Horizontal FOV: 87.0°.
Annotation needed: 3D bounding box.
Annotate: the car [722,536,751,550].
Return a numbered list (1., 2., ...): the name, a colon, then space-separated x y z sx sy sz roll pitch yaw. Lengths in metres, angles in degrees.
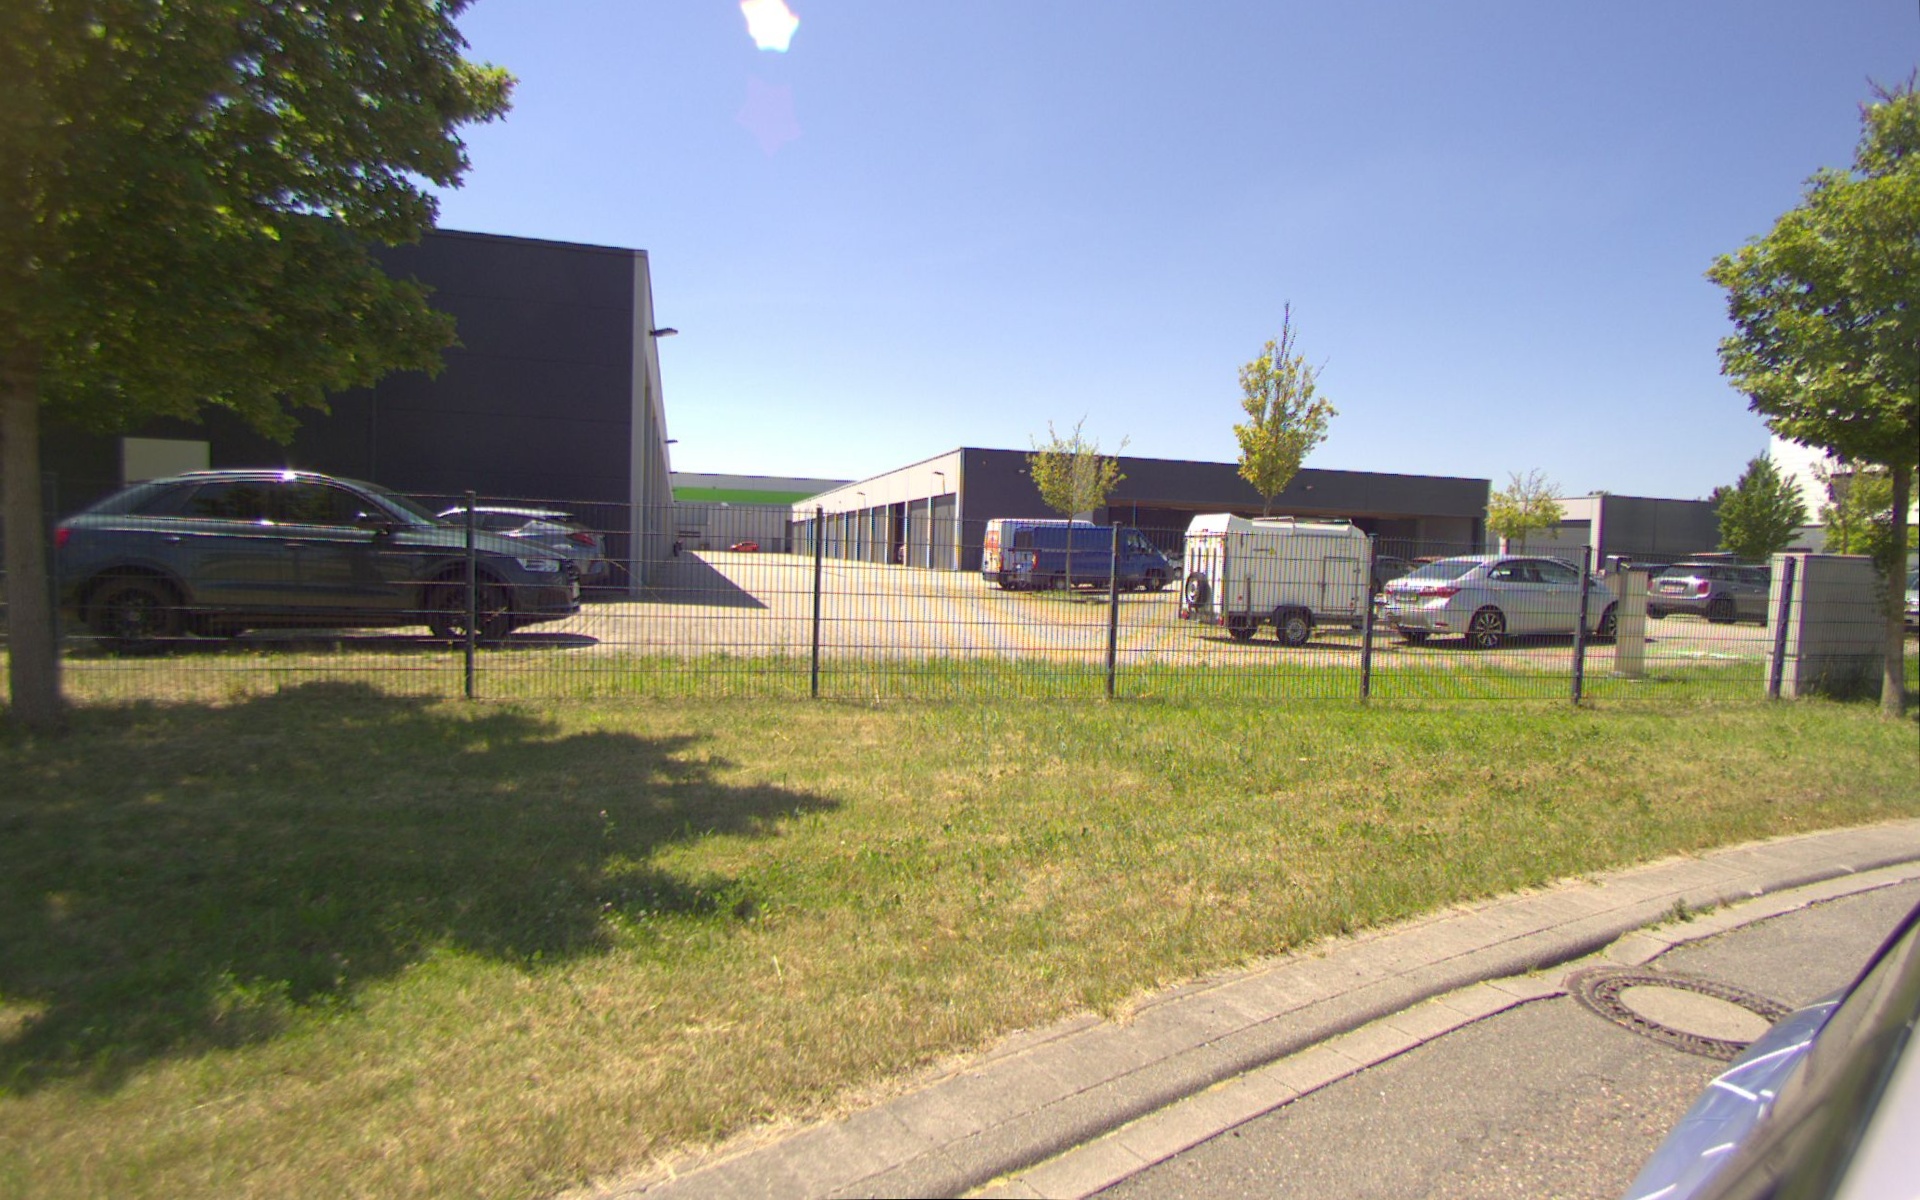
1. car: -30.564 -7.749 138.362 3.916 1.794 2.004 0 1 -12

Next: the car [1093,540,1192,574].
1. car: 9.150 -2.146 50.832 4.510 1.517 1.860 1 3 -15

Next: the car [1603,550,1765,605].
1. car: 21.882 -0.682 30.648 3.842 1.517 1.860 1 2 -14

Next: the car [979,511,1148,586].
1. car: 3.684 -1.858 36.261 5.560 2.487 2.202 -2 3 -17

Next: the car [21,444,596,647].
1. car: -5.716 -0.504 9.529 4.193 1.620 1.785 -1 3 -16

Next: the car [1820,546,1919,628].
1. car: 19.585 -0.169 20.022 4.199 1.517 1.860 3 1 -17

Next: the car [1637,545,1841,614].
1. car: 18.853 -0.519 24.559 3.842 1.517 1.860 1 2 -14

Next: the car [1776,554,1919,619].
1. car: 23.573 -0.337 26.150 3.842 1.517 1.860 1 3 -15

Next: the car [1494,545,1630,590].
1. car: 21.088 -1.163 35.500 3.843 1.517 1.860 -1 3 -13

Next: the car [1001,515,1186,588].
1. car: 4.425 -1.659 33.642 5.711 2.251 2.150 -2 4 -16

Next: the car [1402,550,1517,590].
1. car: 20.318 -1.226 41.235 3.842 1.517 1.860 1 2 -14

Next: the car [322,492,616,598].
1. car: -7.846 -0.893 16.599 4.084 1.585 1.785 -1 3 -16

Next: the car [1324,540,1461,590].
1. car: 15.696 -1.268 36.791 4.164 1.651 1.973 1 2 -14

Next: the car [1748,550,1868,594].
1. car: 35.482 -1.155 42.363 3.843 1.556 1.836 4 -1 -13

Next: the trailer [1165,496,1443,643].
1. trailer: 5.389 -0.464 16.037 3.660 2.023 1.859 2 1 -15

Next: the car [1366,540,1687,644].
1. car: 9.532 -0.197 17.109 4.754 1.517 1.859 -2 3 -14

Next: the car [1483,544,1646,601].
1. car: 17.642 -0.805 29.601 3.842 1.517 1.860 1 2 -14
